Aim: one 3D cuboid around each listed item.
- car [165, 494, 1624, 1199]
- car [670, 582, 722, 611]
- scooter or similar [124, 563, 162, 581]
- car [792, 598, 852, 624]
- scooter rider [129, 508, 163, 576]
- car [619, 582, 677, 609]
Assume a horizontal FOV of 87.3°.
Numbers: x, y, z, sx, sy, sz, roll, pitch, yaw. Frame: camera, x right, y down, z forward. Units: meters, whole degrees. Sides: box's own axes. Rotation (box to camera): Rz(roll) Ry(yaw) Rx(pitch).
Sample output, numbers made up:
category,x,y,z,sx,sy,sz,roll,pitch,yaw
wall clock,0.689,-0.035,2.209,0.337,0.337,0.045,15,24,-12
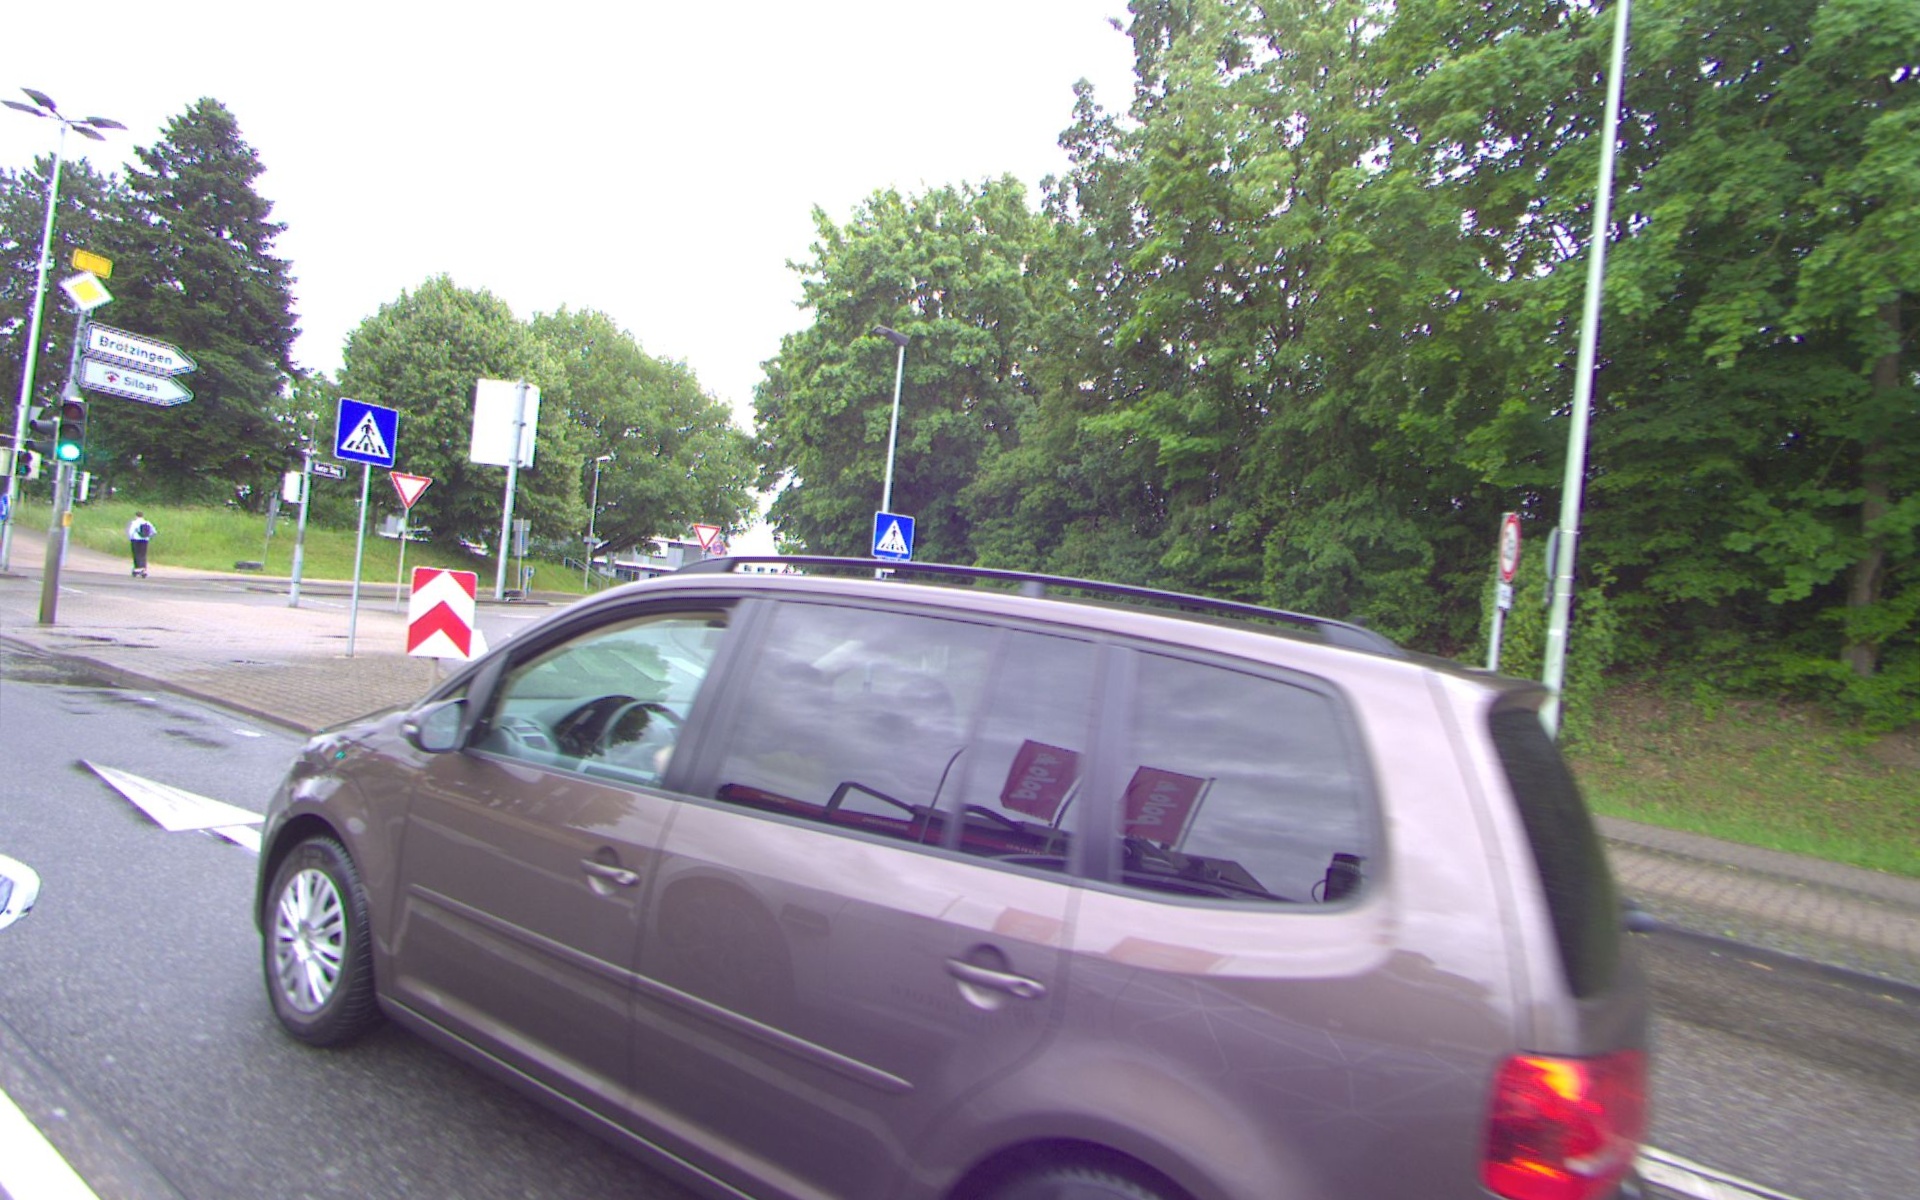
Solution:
category,x,y,z,sx,sy,sz,roll,pitch,yaw
car,-0.450,0.706,3.057,3.915,1.628,1.750,6,-2,32
car,-19.996,-0.231,76.425,1.818,1.882,3.998,5,0,19
scooter or similar,-25.063,-0.872,30.864,1.235,0.408,0.487,7,0,32
car,-9.504,0.770,69.050,3.932,1.446,1.849,5,0,-11
scooter rider,-24.964,-1.781,30.869,0.538,1.990,0.501,7,1,31
car,-20.173,-0.266,65.140,1.817,1.446,4.001,5,0,12
